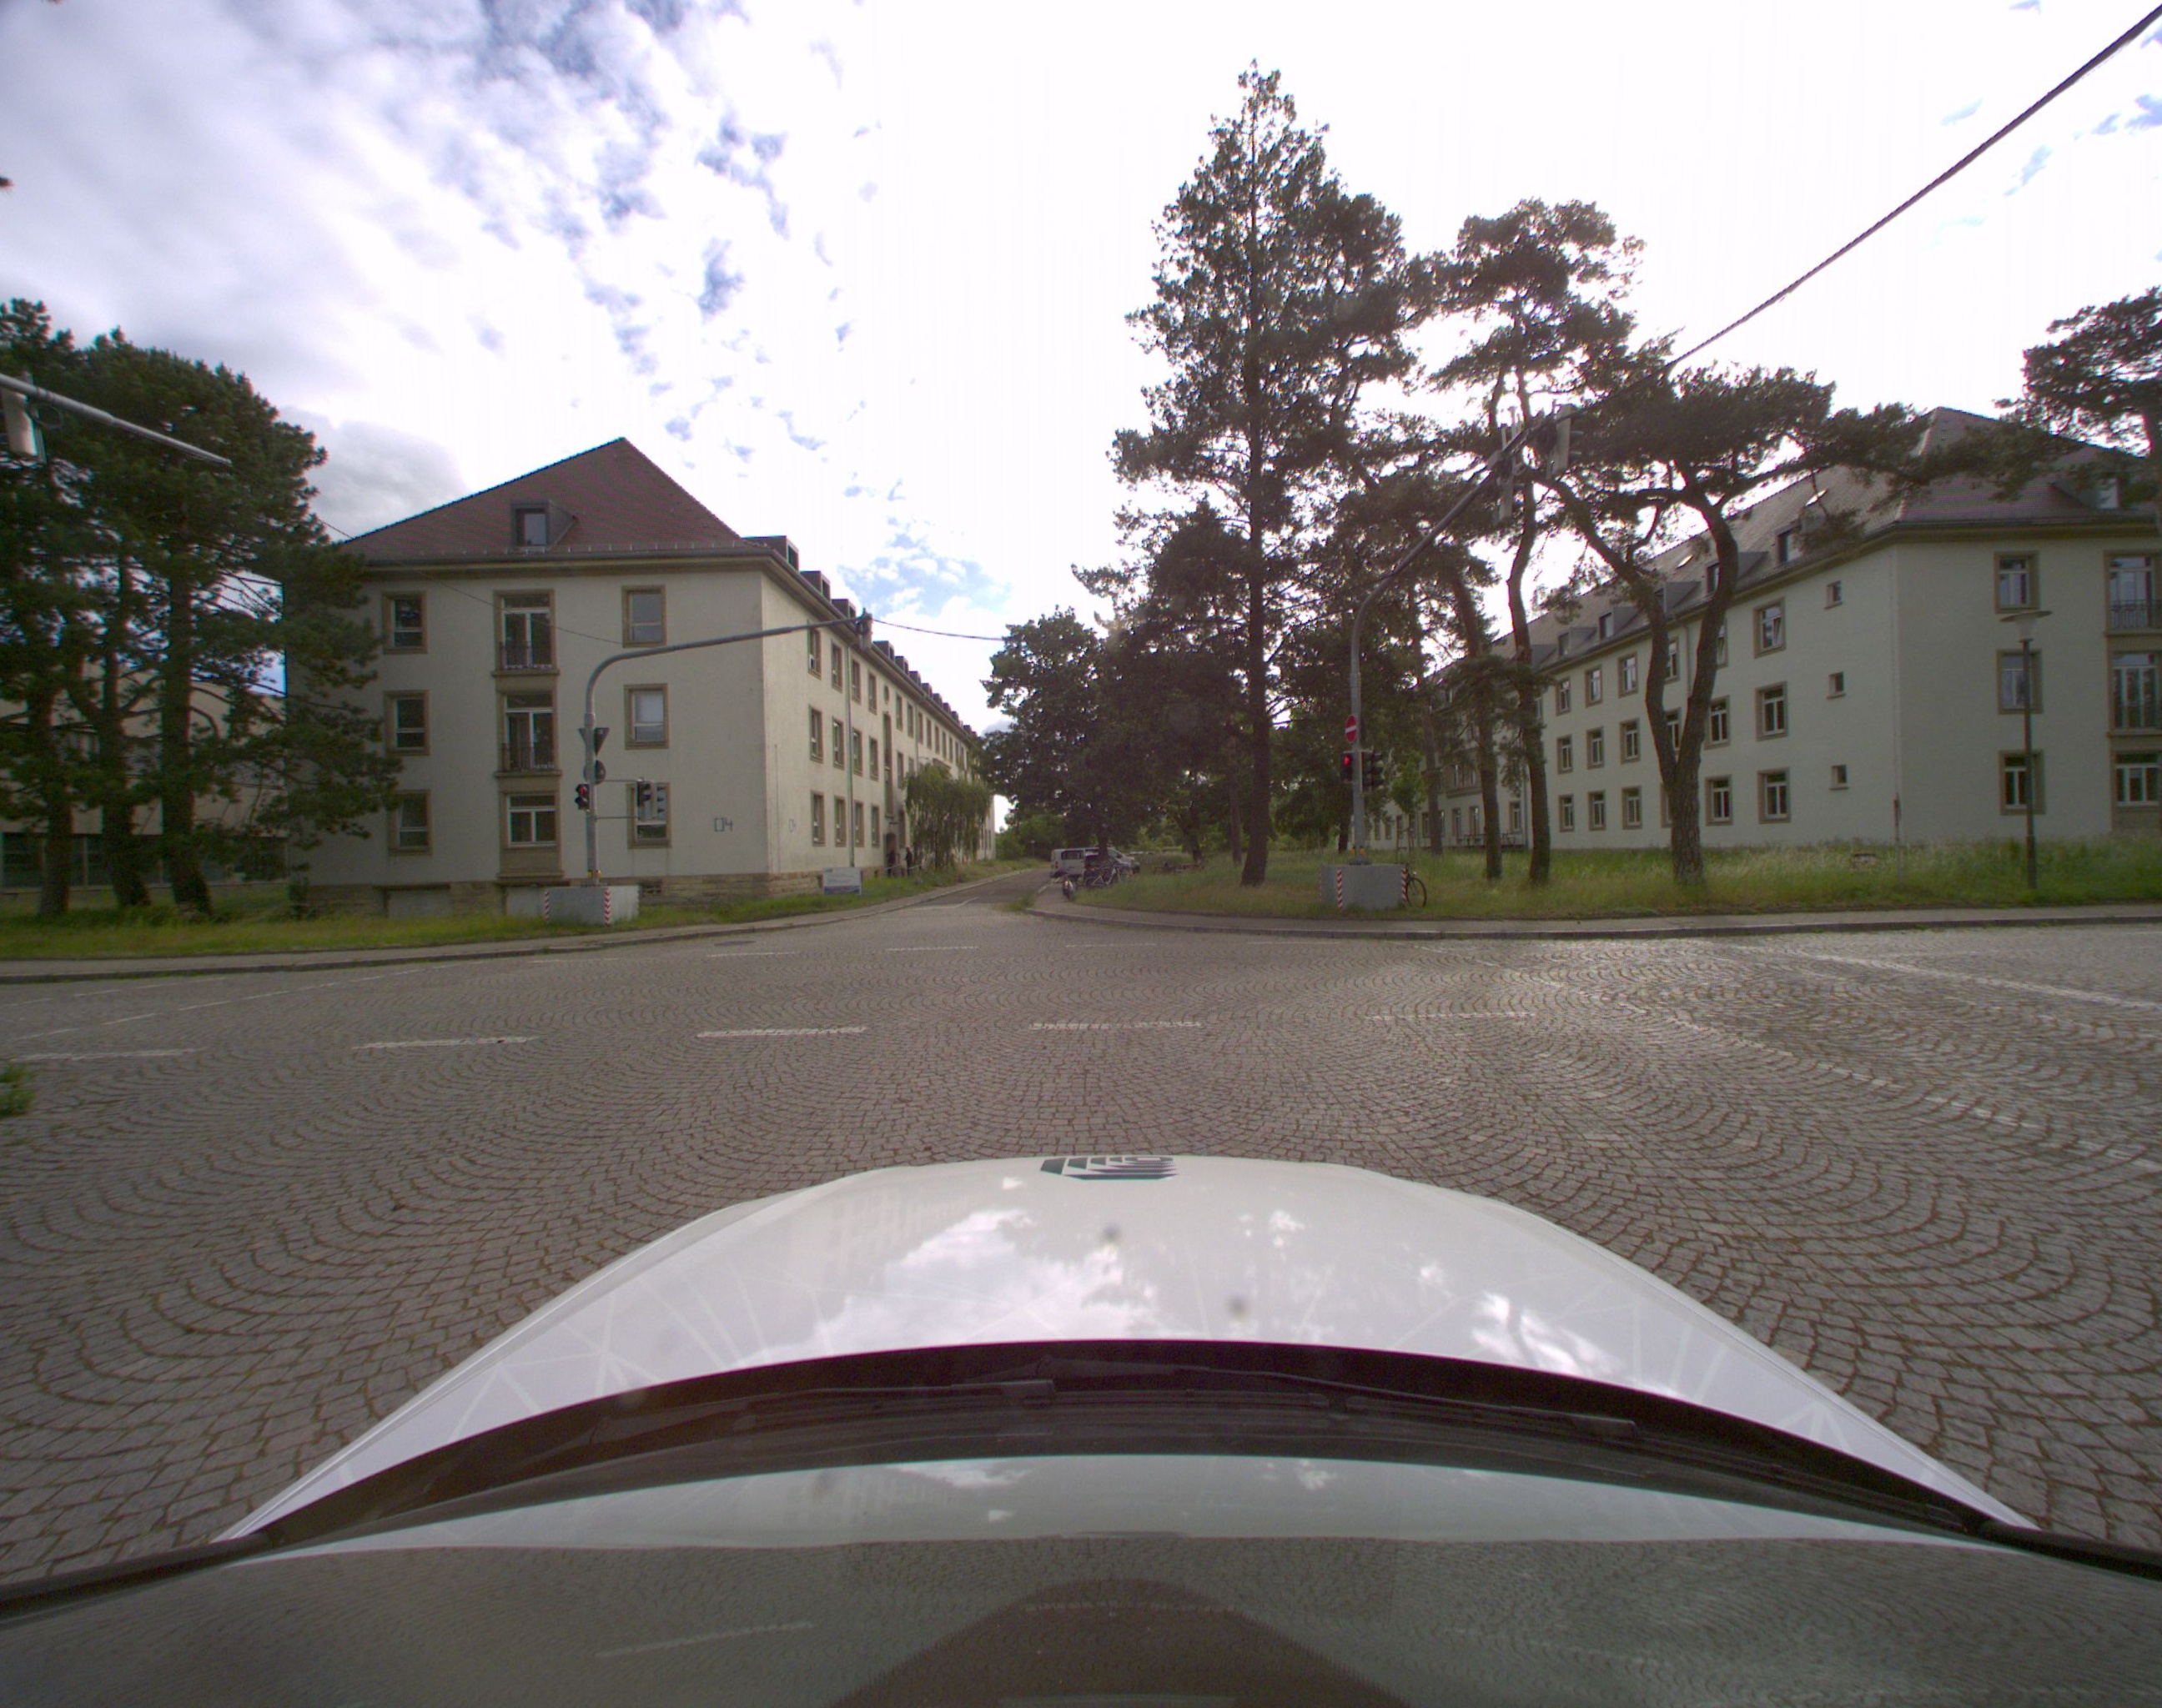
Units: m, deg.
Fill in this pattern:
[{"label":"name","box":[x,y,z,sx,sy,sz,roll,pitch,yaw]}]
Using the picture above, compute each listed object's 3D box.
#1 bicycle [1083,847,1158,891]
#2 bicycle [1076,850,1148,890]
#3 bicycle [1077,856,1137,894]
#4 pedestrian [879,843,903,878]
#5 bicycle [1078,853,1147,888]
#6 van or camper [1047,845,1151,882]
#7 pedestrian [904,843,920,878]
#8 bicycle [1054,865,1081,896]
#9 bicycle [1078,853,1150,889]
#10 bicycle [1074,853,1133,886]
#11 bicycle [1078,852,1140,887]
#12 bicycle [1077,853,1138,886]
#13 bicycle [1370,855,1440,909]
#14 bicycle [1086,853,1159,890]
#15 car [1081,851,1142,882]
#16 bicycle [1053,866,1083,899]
[{"label":"bicycle","box":[1.487,0.565,31.204,2.794,1.583,0.950,-2,0,-1]},{"label":"bicycle","box":[1.133,0.589,30.333,2.611,1.367,0.874,-2,0,-1]},{"label":"bicycle","box":[0.941,0.762,29.721,2.106,1.306,0.874,-2,0,-1]},{"label":"pedestrian","box":[-10.365,0.331,44.524,1.194,1.870,1.545,0,-1,-10]},{"label":"bicycle","box":[1.287,0.677,33.561,2.794,1.372,0.950,-2,0,-1]},{"label":"van or camper","box":[1.044,0.531,47.837,5.746,1.957,2.228,-2,0,-12]},{"label":"pedestrian","box":[-9.496,0.380,45.774,0.865,1.932,0.834,0,-1,-11]},{"label":"bicycle","box":[-0.450,0.915,28.433,0.724,0.996,1.981,-2,0,5]},{"label":"bicycle","box":[1.307,0.671,32.668,2.794,1.372,0.950,-2,0,-1]},{"label":"bicycle","box":[0.991,0.669,36.202,2.560,1.372,0.950,-2,0,-1]},{"label":"bicycle","box":[1.150,0.656,34.525,2.560,1.372,0.950,-2,0,-1]},{"label":"bicycle","box":[1.145,0.662,35.364,2.560,1.372,0.950,-2,0,-1]},{"label":"bicycle","box":[6.970,0.578,17.628,0.643,1.062,1.832,-5,0,-2]},{"label":"bicycle","box":[1.628,0.665,32.134,2.794,1.372,0.950,-2,0,-1]},{"label":"car","box":[1.639,0.680,44.308,3.215,1.621,1.937,0,-1,-1]},{"label":"bicycle","box":[-0.397,0.899,26.341,0.898,0.996,1.978,-2,0,0]}]
